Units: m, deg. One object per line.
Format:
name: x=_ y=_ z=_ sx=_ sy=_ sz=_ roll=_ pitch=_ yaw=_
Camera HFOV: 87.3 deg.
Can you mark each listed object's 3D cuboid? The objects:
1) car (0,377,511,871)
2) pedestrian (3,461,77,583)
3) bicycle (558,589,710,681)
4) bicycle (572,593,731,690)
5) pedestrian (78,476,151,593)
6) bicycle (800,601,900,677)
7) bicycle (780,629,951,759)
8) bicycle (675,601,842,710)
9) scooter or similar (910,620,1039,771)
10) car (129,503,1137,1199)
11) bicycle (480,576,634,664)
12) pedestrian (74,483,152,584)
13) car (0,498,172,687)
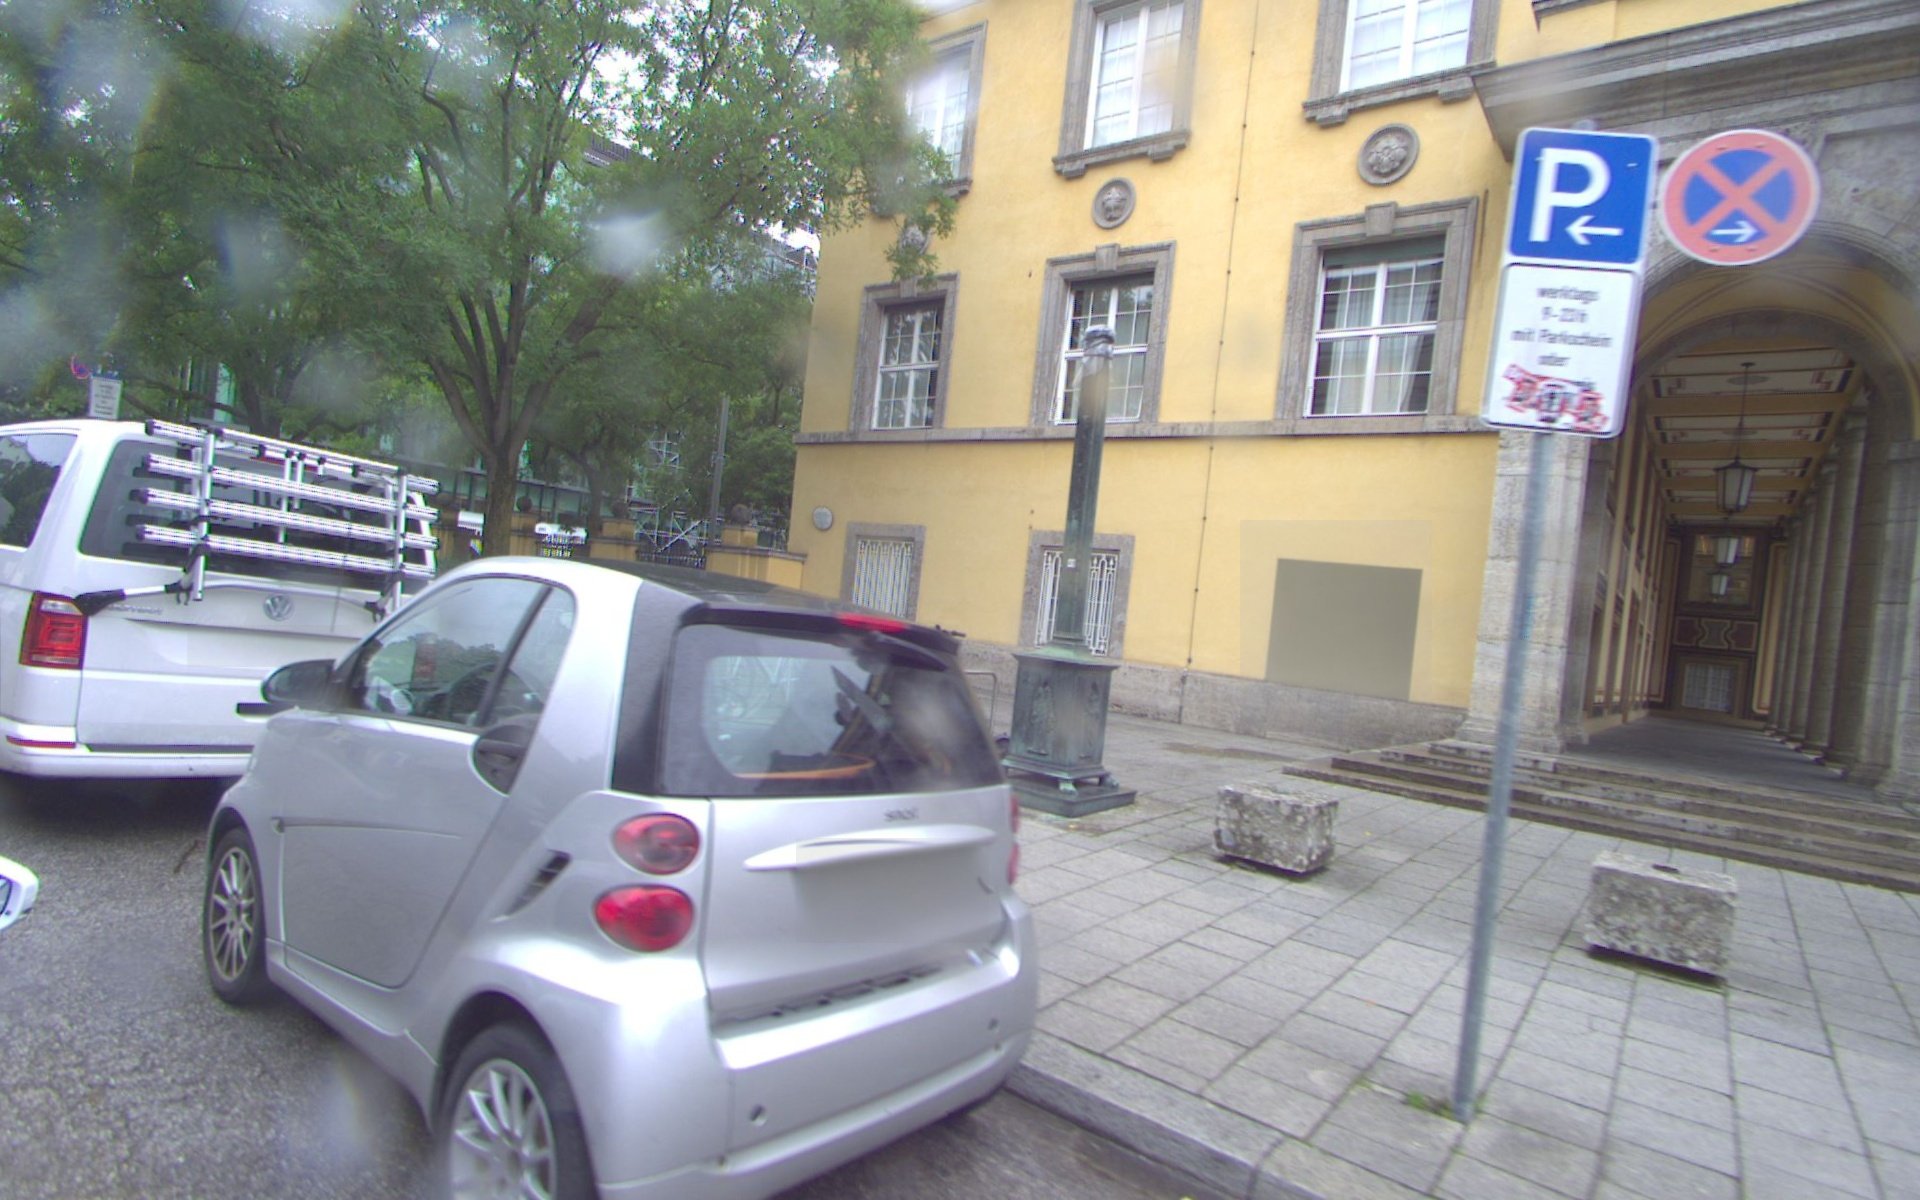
car: x=-5.166 y=-0.013 z=6.243 sx=5.192 sy=1.954 sz=1.847 roll=6 pitch=-3 yaw=37
pedestrian: x=-17.307 y=-1.472 z=18.923 sx=1.040 sy=2.162 sz=0.742 roll=6 pitch=1 yaw=37
bicycle: x=-4.353 y=0.501 z=13.571 sx=0.464 sy=1.128 sz=1.929 roll=7 pitch=1 yaw=39
bicycle: x=-3.904 y=0.552 z=12.880 sx=0.464 sy=1.128 sz=1.929 roll=7 pitch=1 yaw=39
pedestrian: x=-16.550 y=-1.285 z=19.689 sx=1.040 sy=2.162 sz=0.742 roll=6 pitch=1 yaw=37
bicycle: x=-2.058 y=0.712 z=18.617 sx=1.873 sy=1.169 sz=0.542 roll=7 pitch=1 yaw=37
bicycle: x=-0.878 y=0.901 z=9.950 sx=0.464 sy=1.128 sz=1.931 roll=7 pitch=1 yaw=34
bicycle: x=-2.260 y=0.648 z=11.531 sx=0.464 sy=1.128 sz=1.929 roll=7 pitch=1 yaw=39
scooter or similar: x=0.116 y=0.855 z=9.139 sx=0.994 sy=1.238 sz=0.537 roll=6 pitch=1 yaw=-8
car: x=-1.178 y=0.652 z=3.255 sx=2.890 sy=1.563 sz=1.606 roll=6 pitch=-2 yaw=38
bicycle: x=-5.658 y=0.321 z=14.263 sx=0.464 sy=1.128 sz=2.031 roll=7 pitch=1 yaw=34
pedestrian: x=-17.342 y=-1.334 z=20.623 sx=0.733 sy=1.932 sz=1.052 roll=5 pitch=1 yaw=-17
car: x=-9.798 y=-0.277 z=9.888 sx=4.895 sy=1.506 sz=1.774 roll=6 pitch=-3 yaw=35
